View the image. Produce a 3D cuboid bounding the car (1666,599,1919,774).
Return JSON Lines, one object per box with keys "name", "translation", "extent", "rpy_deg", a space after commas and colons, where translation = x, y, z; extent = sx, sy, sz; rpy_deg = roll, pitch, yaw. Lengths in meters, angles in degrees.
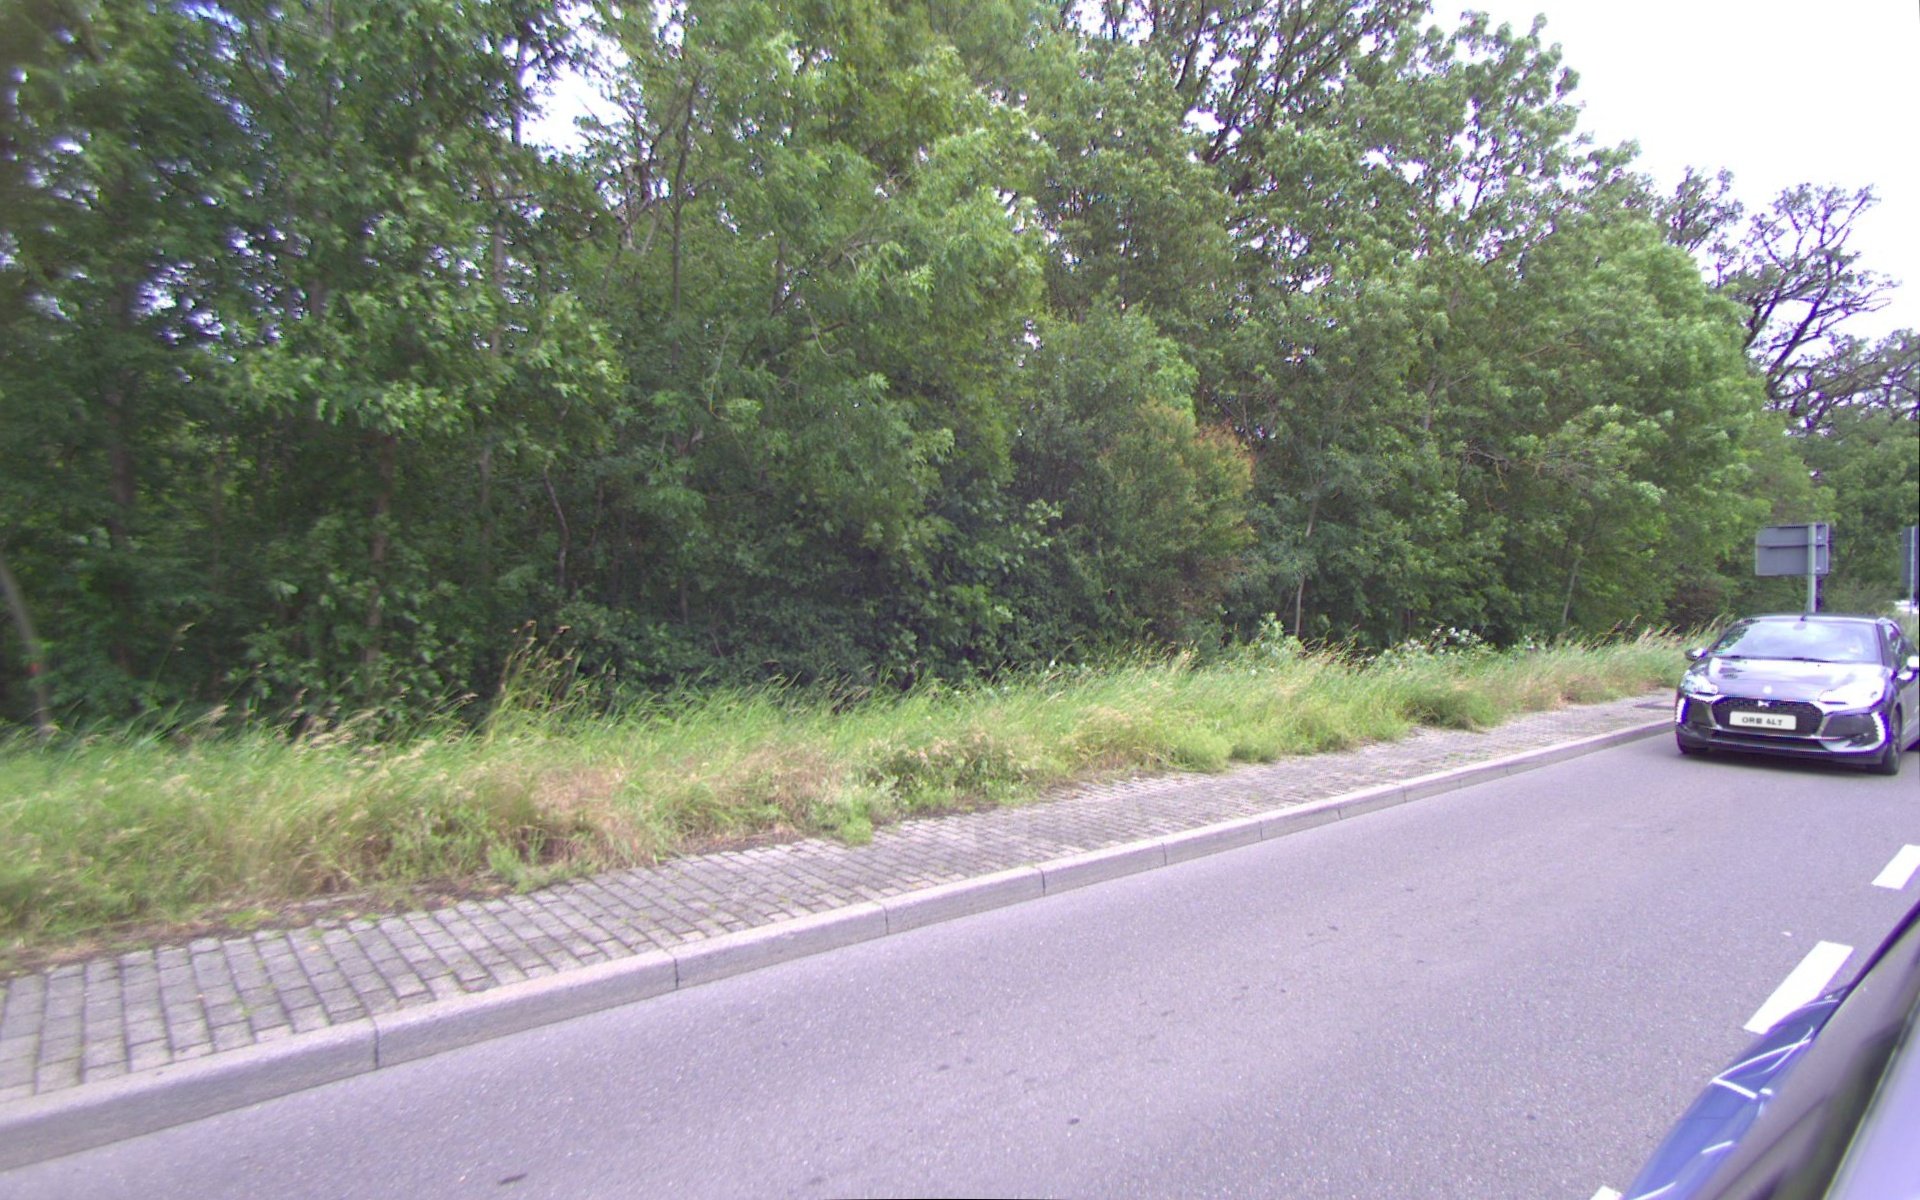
{"name": "car", "translation": [8.981, 0.740, 10.537], "extent": [3.786, 1.476, 1.729], "rpy_deg": [0, 0, -40]}
